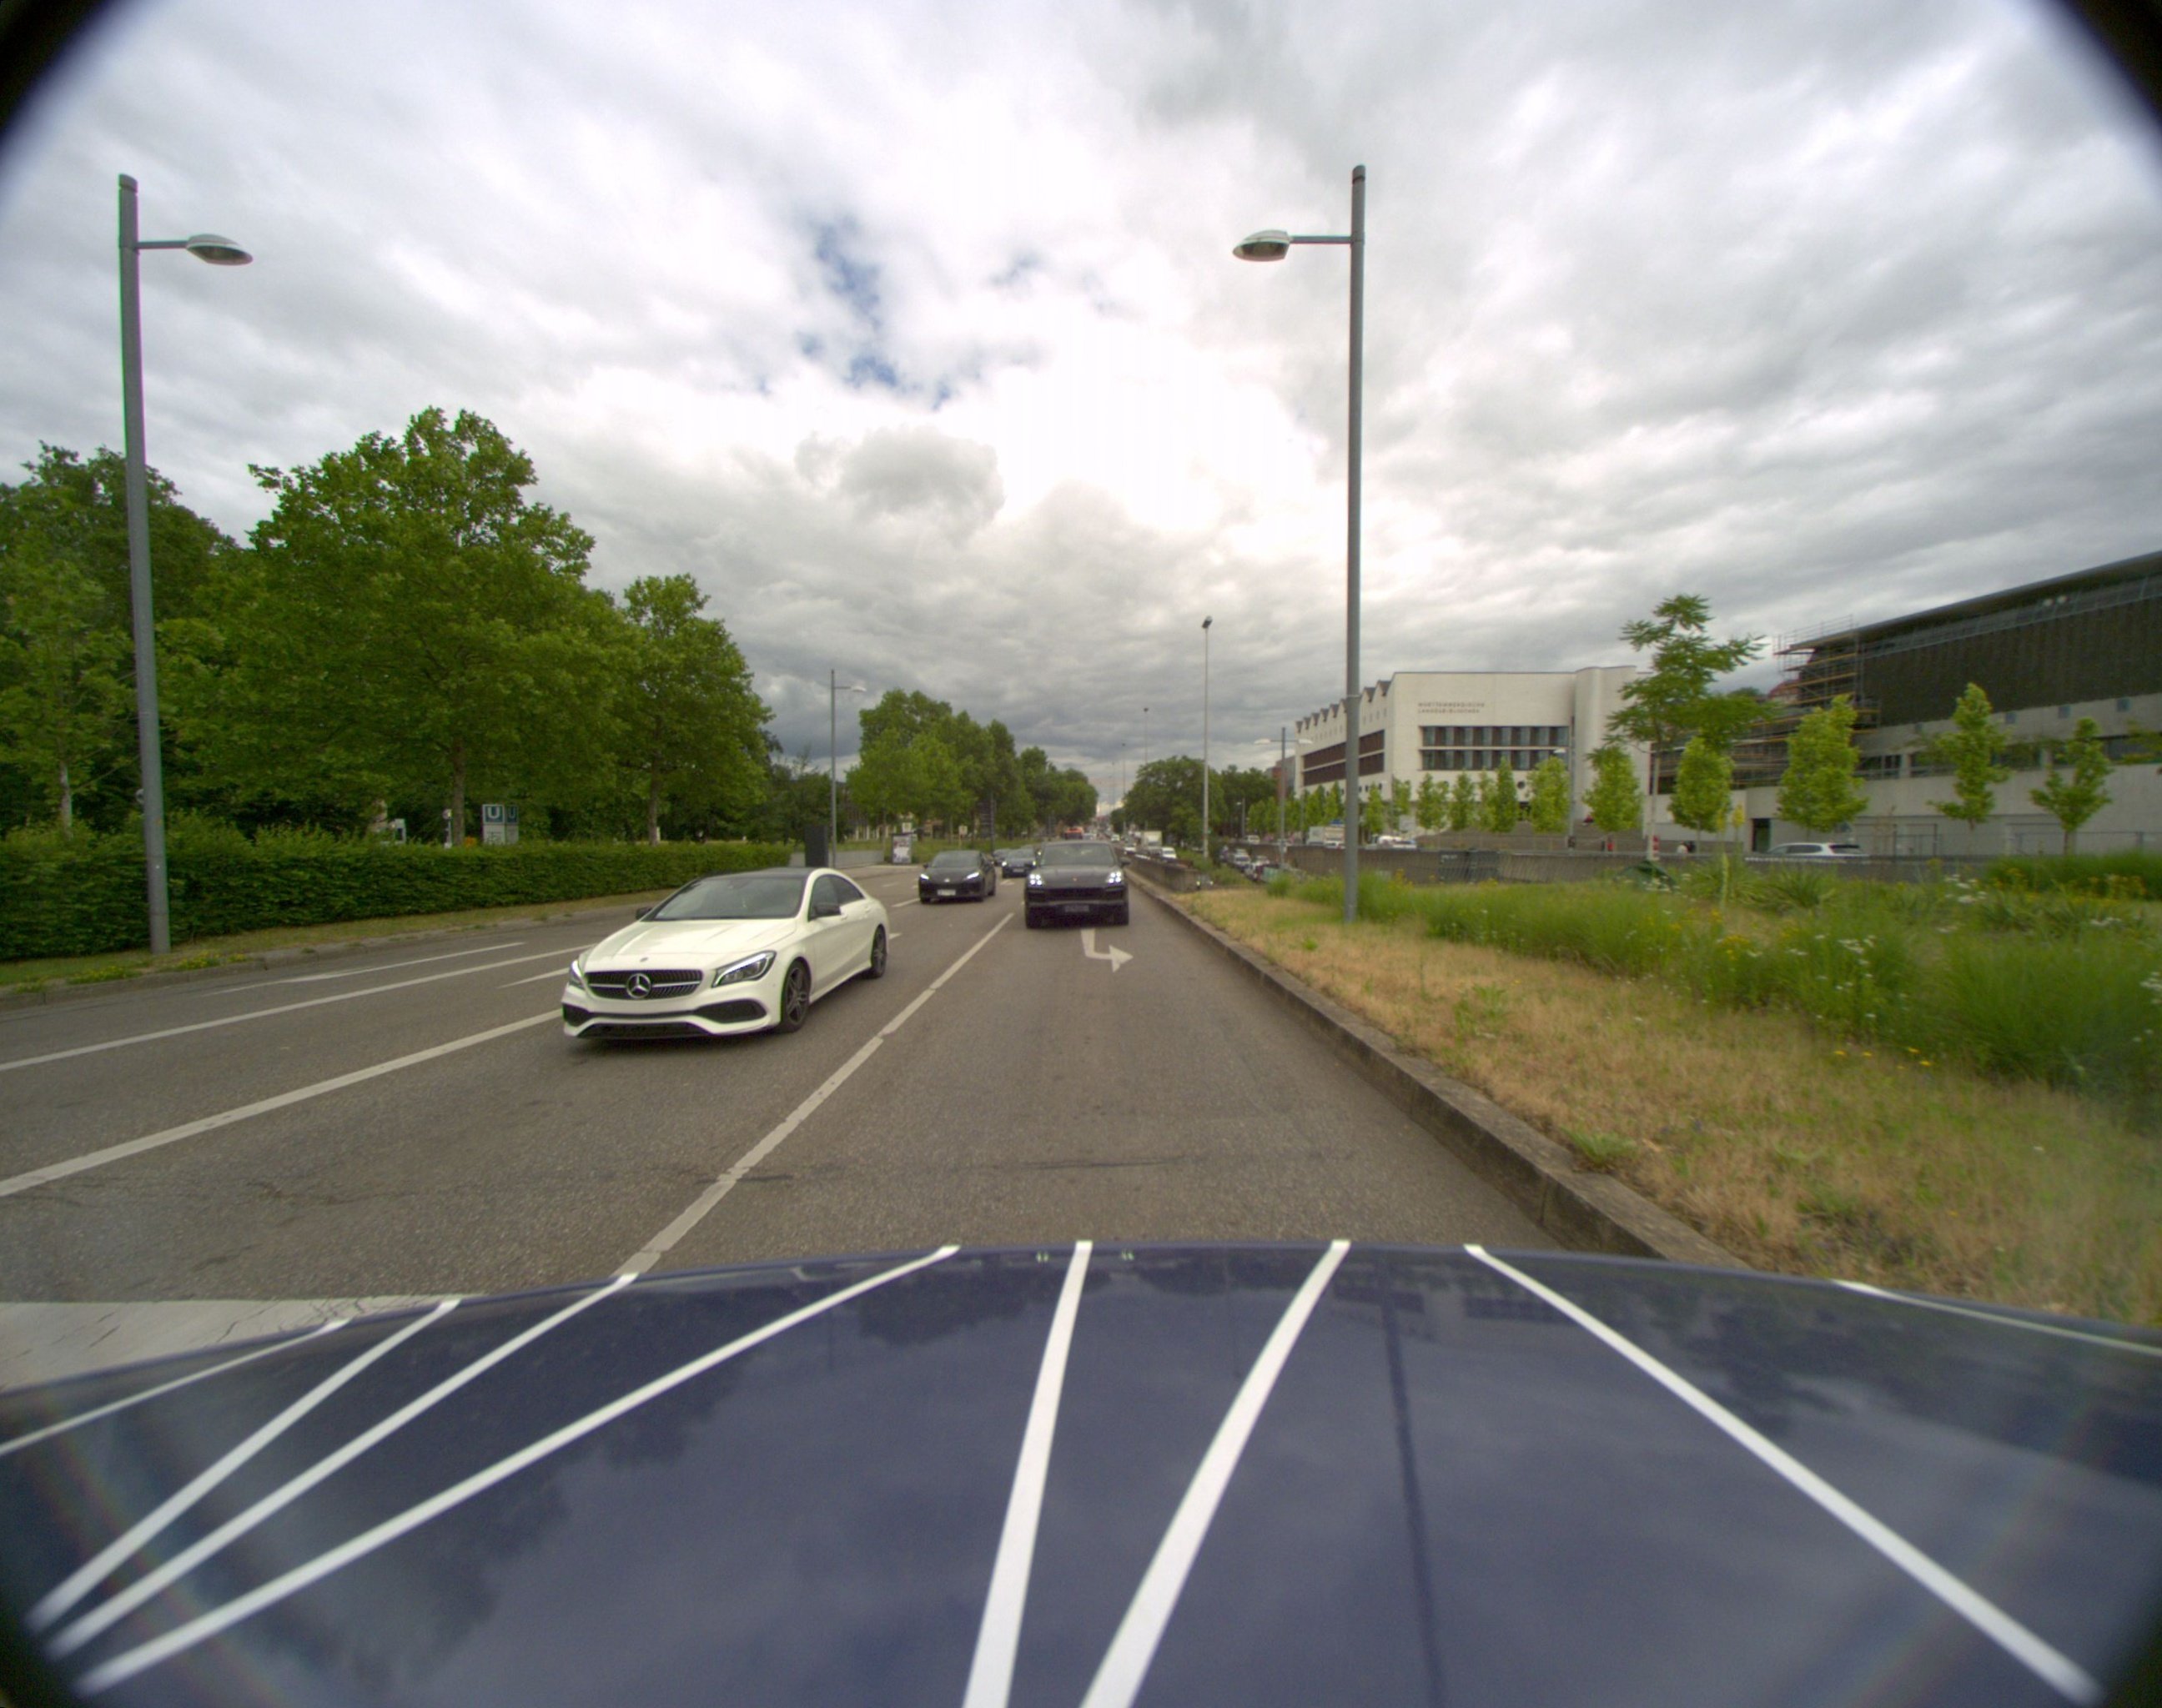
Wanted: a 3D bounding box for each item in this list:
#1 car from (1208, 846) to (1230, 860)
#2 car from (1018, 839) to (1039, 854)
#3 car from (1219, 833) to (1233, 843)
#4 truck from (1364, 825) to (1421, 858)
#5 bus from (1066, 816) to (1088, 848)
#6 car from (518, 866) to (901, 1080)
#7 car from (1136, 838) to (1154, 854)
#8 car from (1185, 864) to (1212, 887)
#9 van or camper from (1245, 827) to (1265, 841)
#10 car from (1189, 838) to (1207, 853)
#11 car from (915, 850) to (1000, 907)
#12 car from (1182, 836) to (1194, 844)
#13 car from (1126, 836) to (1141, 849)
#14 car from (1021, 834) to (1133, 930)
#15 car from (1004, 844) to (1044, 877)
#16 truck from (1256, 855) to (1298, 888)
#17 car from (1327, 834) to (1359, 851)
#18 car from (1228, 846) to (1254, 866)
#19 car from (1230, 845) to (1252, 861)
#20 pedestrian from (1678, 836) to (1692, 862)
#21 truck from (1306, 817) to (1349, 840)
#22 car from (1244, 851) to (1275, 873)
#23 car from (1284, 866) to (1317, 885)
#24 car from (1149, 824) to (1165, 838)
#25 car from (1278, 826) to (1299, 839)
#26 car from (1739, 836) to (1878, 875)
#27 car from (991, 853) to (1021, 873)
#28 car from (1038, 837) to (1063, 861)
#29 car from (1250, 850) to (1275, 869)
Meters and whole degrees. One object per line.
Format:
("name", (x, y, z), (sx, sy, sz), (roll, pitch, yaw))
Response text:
("car", (17.767, -0.183, 97.952), (1.998, 1.733, 4.281), (2, 1, 1))
("car", (-5.361, -0.792, 78.175), (1.723, 1.528, 4.000), (-1, 1, 1))
("car", (27.049, -2.919, 141.943), (1.998, 1.805, 4.000), (-1, 0, 1))
("truck", (28.480, -1.100, 69.746), (2.470, 2.800, 7.078), (-1, 0, 2))
("bus", (-0.558, -3.101, 109.141), (3.043, 4.328, 8.747), (-1, 1, 0))
("car", (-3.329, 0.937, 7.981), (1.723, 1.416, 4.505), (-1, 1, 1))
("car", (8.109, -1.018, 96.978), (1.998, 2.002, 4.000), (0, 1, 0))
("car", (11.020, 1.971, 71.673), (1.998, 2.002, 4.000), (-1, 0, 1))
("van or camper", (27.136, -3.108, 118.512), (1.998, 2.002, 4.556), (-1, 0, 1))
("car", (18.055, -1.326, 117.649), (1.998, 2.119, 4.851), (2, 1, 1))
("car", (-3.619, 0.656, 23.047), (1.830, 1.515, 4.119), (-1, 1, 1))
("car", (18.434, -2.422, 130.838), (1.675, 1.477, 3.361), (0, 1, 1))
("car", (7.945, -1.694, 115.796), (1.998, 2.002, 4.000), (0, 1, 0))
("car", (-0.042, 0.432, 15.820), (1.937, 1.668, 4.678), (-1, 2, 1))
("car", (-2.864, 0.270, 38.800), (1.573, 1.528, 4.001), (-1, 1, 2))
("truck", (17.471, 1.527, 68.005), (2.324, 2.676, 5.978), (-1, 1, 1))
("car", (28.577, -1.201, 82.917), (1.998, 1.805, 4.257), (-1, 0, 1))
("car", (17.826, 0.185, 84.873), (1.998, 2.002, 4.332), (2, 1, 1))
("car", (21.088, -0.192, 100.324), (1.998, 2.002, 3.999), (2, 1, 1))
("pedestrian", (35.707, -0.310, 44.906), (0.428, 1.513, 0.461), (-2, 2, -6))
("truck", (31.151, -3.173, 96.418), (3.239, 2.771, 7.253), (-1, 0, 1))
("car", (17.714, 0.762, 75.556), (1.998, 2.002, 3.999), (2, 1, 1))
("car", (20.883, 2.027, 72.578), (1.998, 1.543, 3.999), (-2, 1, 0))
("car", (11.274, -3.336, 112.148), (1.997, 2.002, 4.002), (-1, 1, 9))
("car", (27.918, -2.866, 102.453), (1.723, 1.565, 4.270), (-1, 0, 2))
("car", (31.337, 0.036, 32.947), (1.723, 1.565, 4.612), (-1, 0, 2))
("car", (-5.952, 0.708, 60.671), (1.867, 1.412, 3.999), (-2, 1, 1))
("car", (-2.479, -0.416, 62.640), (1.723, 1.851, 4.429), (-1, 1, 1))
("car", (21.360, 0.637, 89.595), (1.998, 2.002, 3.999), (2, 1, 1))
